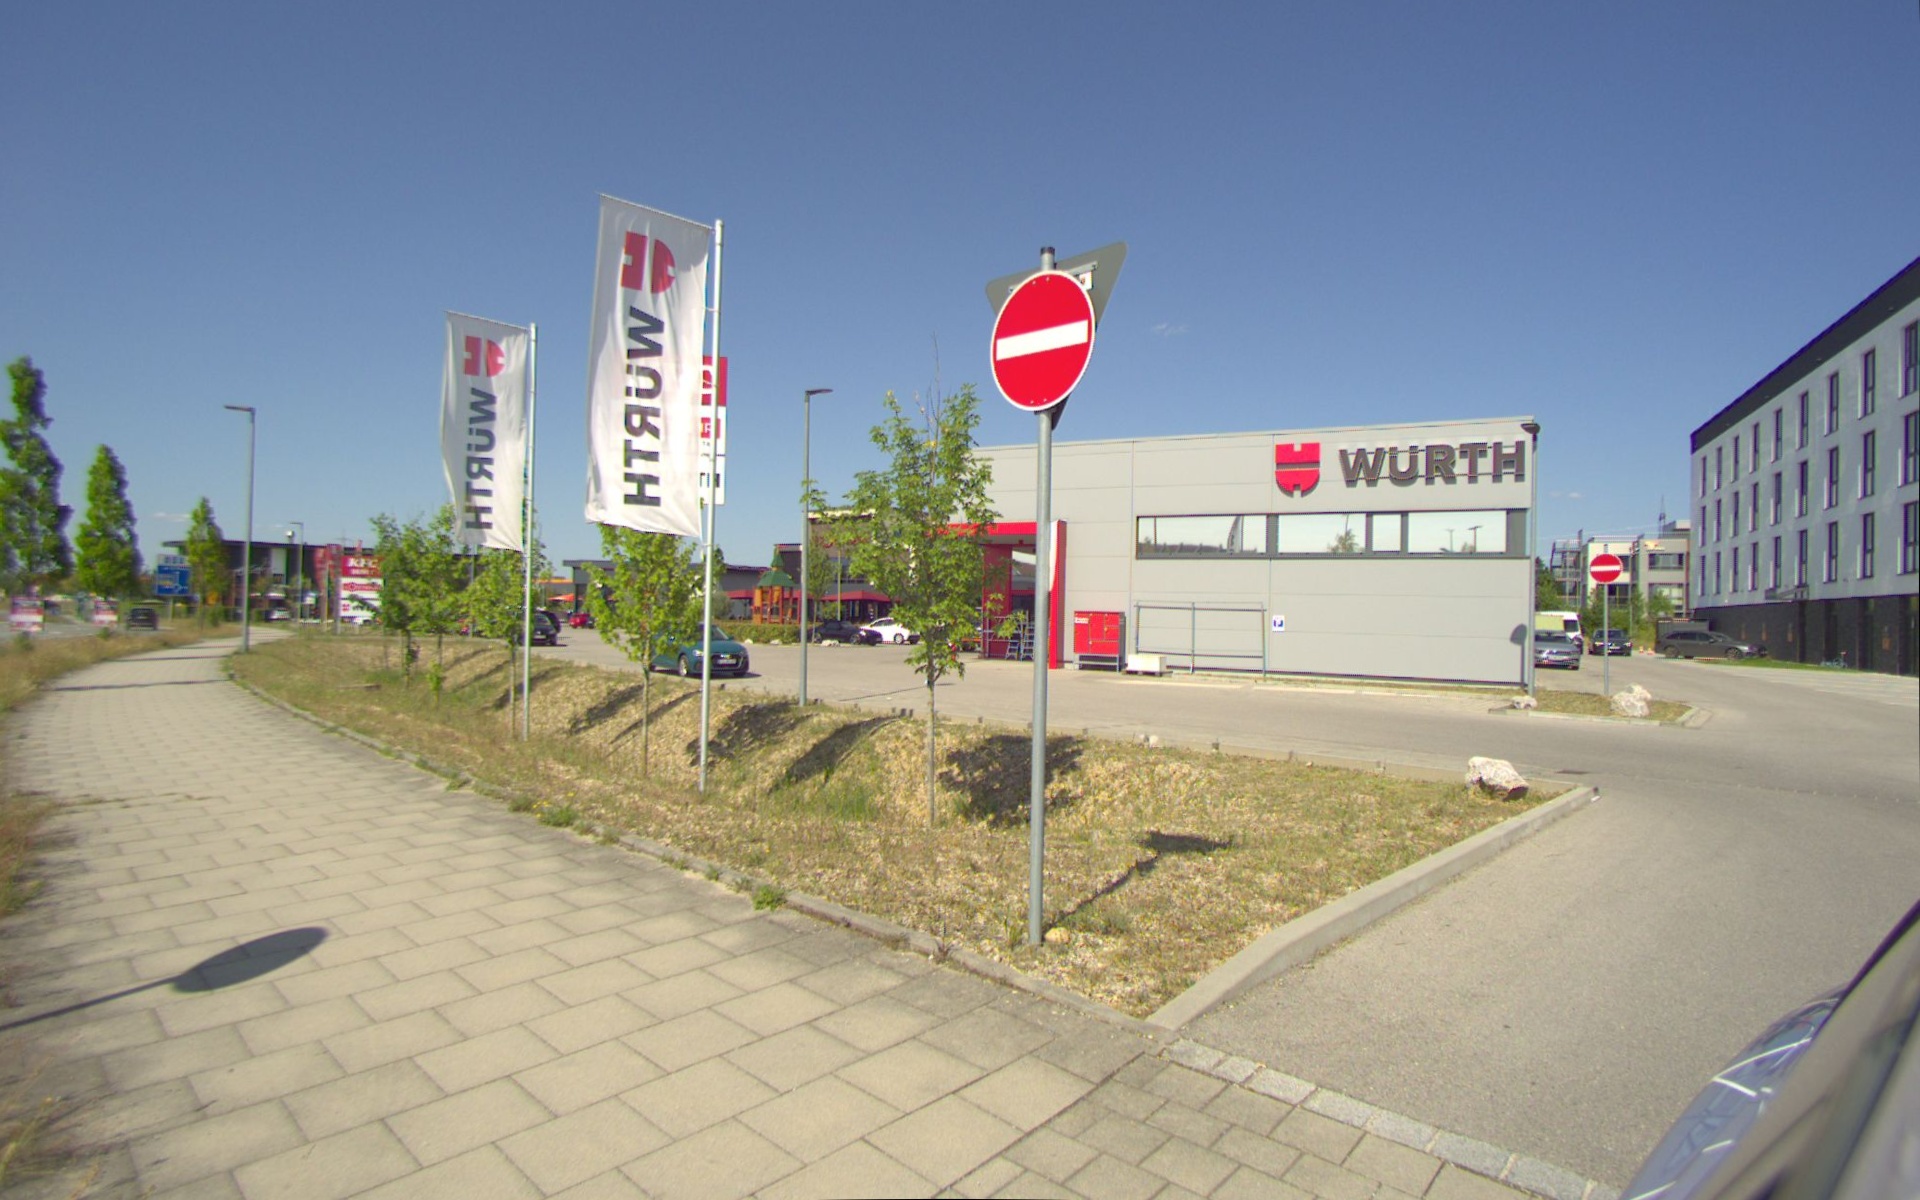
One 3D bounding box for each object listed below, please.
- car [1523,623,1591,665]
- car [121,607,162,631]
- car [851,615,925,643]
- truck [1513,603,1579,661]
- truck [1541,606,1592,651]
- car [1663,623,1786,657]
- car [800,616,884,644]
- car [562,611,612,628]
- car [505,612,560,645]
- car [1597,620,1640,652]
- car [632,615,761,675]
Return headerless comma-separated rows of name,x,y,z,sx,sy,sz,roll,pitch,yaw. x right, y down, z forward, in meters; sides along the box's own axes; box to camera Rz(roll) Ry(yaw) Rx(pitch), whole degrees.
car,23.254,1.666,39.548,1.859,1.527,3.966,0,-1,24
car,-56.710,1.277,70.184,1.878,1.571,4.388,1,-1,-35
car,-4.127,1.618,57.657,3.882,1.493,1.783,0,-1,31
truck,26.231,1.406,45.461,2.102,2.407,5.836,0,-1,26
truck,34.772,1.604,58.155,1.980,2.407,5.836,0,-1,26
car,37.818,1.960,50.179,1.841,1.527,4.531,1,-1,-27
car,-6.209,1.559,53.312,4.111,1.355,1.814,0,-1,26
car,-34.961,1.832,94.906,1.868,1.586,4.041,0,-1,37
car,-20.284,1.310,47.920,1.841,1.484,4.367,1,-1,-30
car,36.319,1.977,55.884,1.703,1.638,3.958,0,-1,29
car,-7.213,1.171,27.453,1.812,1.468,4.222,2,-1,-39
